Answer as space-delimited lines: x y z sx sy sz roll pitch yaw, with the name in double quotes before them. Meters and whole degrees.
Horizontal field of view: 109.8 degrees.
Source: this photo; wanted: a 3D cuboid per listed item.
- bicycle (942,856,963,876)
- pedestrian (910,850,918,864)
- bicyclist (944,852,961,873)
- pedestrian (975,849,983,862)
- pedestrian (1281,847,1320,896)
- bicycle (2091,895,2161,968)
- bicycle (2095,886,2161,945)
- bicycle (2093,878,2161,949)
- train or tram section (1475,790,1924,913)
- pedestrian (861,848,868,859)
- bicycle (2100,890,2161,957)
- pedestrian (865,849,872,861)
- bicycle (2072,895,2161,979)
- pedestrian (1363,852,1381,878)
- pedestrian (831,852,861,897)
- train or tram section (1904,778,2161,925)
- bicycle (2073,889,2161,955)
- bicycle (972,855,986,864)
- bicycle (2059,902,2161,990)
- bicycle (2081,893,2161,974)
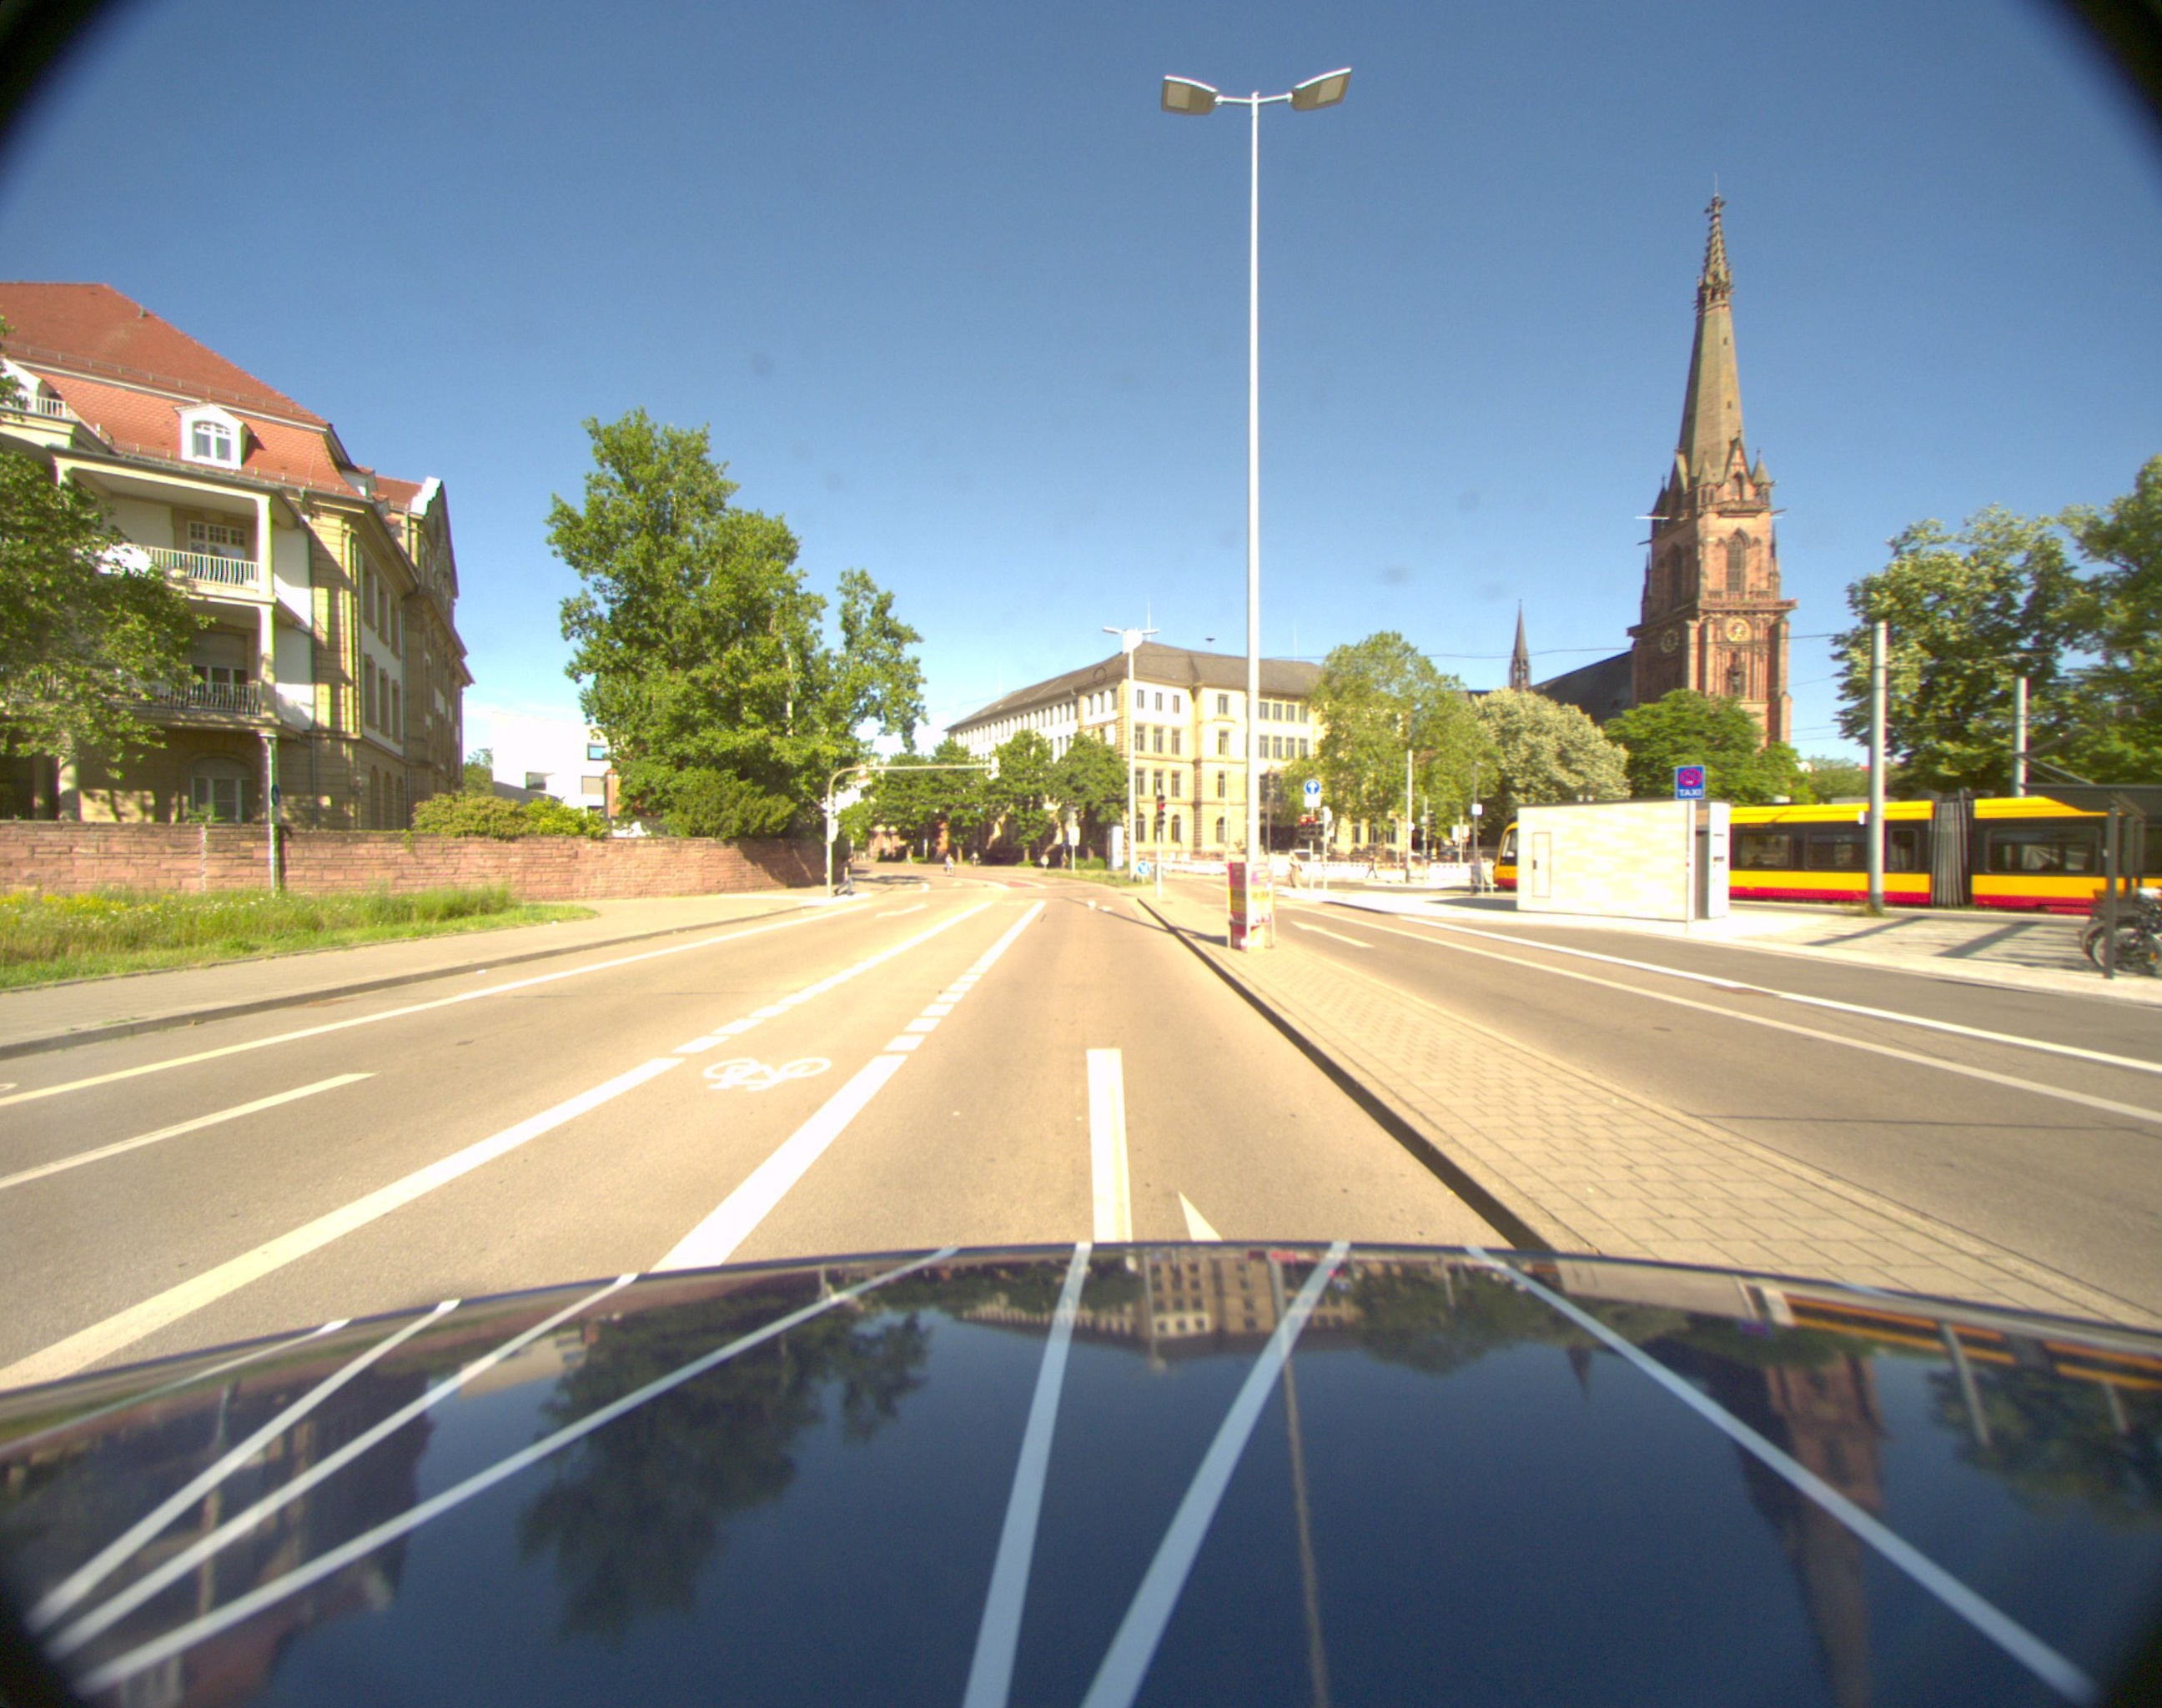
"bicycle" -9.622 0.878 56.775 0.763 1.360 2.731 -1 1 -28
"pedestrian" -22.707 0.402 103.325 0.759 1.802 0.977 -1 1 -40
"bicyclist" -9.636 0.620 56.793 0.871 1.551 1.277 -1 1 -29
"pedestrian" -11.356 0.196 84.577 0.597 1.394 0.644 -3 2 -38
"pedestrian" 8.466 0.670 29.296 1.229 1.845 0.827 0 1 -6
"bicycle" 16.184 1.157 10.999 0.630 1.002 1.826 -1 1 -32
"bicycle" 19.532 1.119 13.456 0.630 1.002 1.826 -1 1 -32
"bicycle" 18.953 1.043 13.048 0.630 1.173 1.826 -1 1 -32
"train or tram section" 21.504 -0.121 28.001 2.806 3.580 12.504 -1 1 -35
"pedestrian" -35.503 -0.070 124.414 0.759 1.802 0.978 -1 1 -38
"bicycle" 17.171 1.095 11.624 0.630 1.002 1.826 -1 1 -32
"pedestrian" -33.284 0.142 118.952 0.759 1.802 0.978 -1 1 -34
"bicycle" 14.677 1.126 10.062 0.630 1.059 1.826 -1 1 -32
"pedestrian" 20.037 0.765 52.294 0.932 1.731 0.808 1 1 42
"pedestrian" -9.936 0.853 32.122 0.960 1.839 0.731 1 1 2
"train or tram section" 28.572 -0.066 17.816 2.806 3.580 12.294 -1 1 -35
"bicycle" 17.819 1.133 12.460 0.630 1.002 1.826 -1 1 -32
"bicycle" -11.385 0.578 84.662 0.602 1.000 1.982 -3 1 -39
"bicycle" 13.944 1.203 9.594 0.702 1.002 1.863 -1 2 -32
"bicycle" 15.147 1.112 10.327 0.574 1.045 1.826 -1 1 -32
